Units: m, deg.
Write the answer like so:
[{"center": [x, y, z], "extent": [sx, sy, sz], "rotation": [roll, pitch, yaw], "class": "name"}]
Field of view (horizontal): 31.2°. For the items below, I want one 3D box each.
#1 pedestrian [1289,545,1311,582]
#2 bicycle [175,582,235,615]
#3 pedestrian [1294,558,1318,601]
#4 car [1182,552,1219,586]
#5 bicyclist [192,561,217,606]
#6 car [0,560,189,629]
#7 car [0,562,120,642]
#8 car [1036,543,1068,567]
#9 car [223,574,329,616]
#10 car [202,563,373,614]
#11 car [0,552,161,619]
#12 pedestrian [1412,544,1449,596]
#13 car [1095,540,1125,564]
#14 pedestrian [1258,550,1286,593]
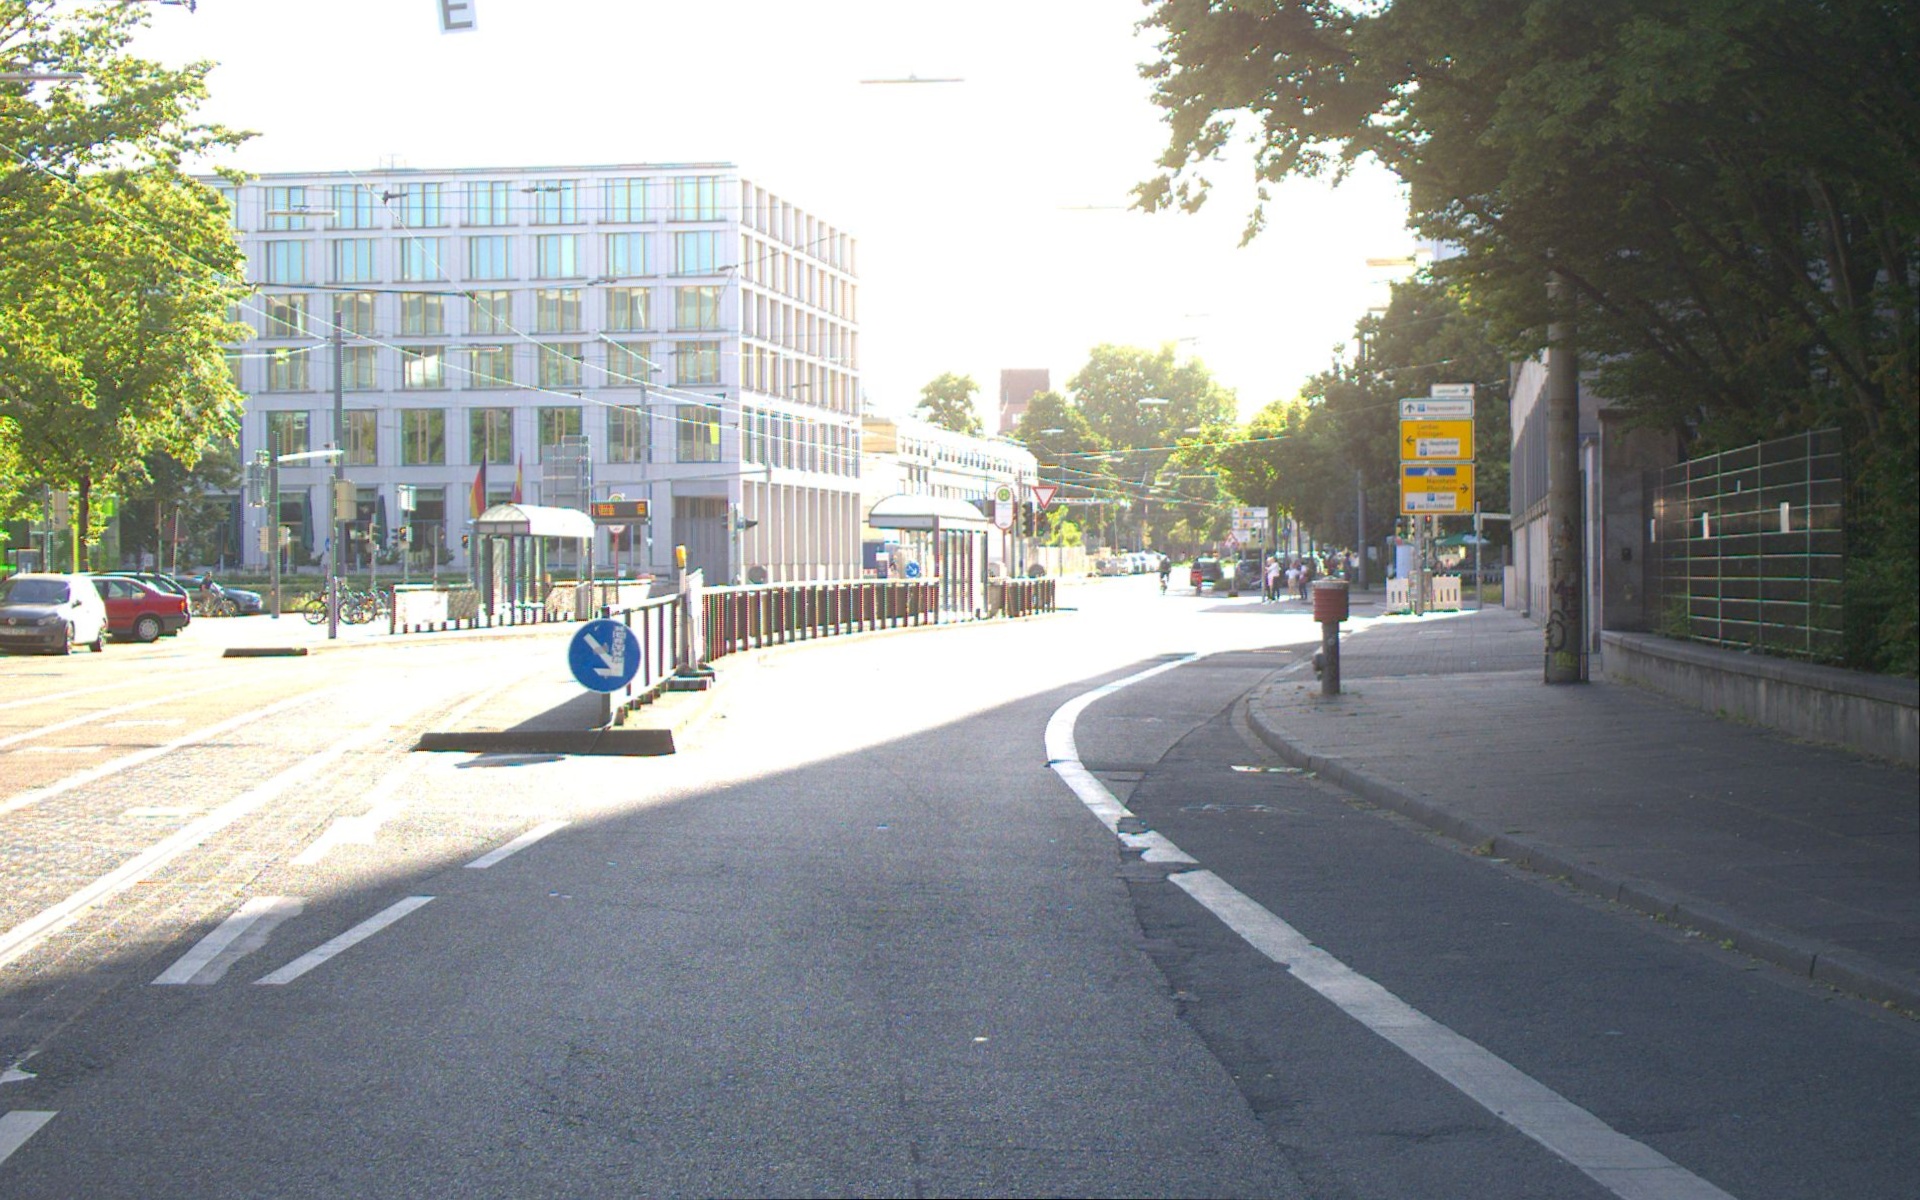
[{"center": [14.264, -1.518, 144.202], "extent": [0.762, 1.553, 0.588], "rotation": [-1, 0, -7], "class": "pedestrian"}, {"center": [-26.608, -0.053, 121.193], "extent": [1.924, 1.118, 0.789], "rotation": [0, 0, 14], "class": "bicycle"}, {"center": [14.420, -0.837, 143.348], "extent": [0.847, 1.778, 0.780], "rotation": [-1, 0, -7], "class": "pedestrian"}, {"center": [13.135, -1.684, 187.684], "extent": [1.685, 1.731, 3.507], "rotation": [1, 0, 8], "class": "car"}, {"center": [-26.616, -0.570, 121.133], "extent": [0.619, 1.577, 0.594], "rotation": [0, 0, 15], "class": "bicyclist"}, {"center": [-19.129, -0.114, 74.373], "extent": [4.499, 1.421, 1.873], "rotation": [1, 0, -23], "class": "car"}, {"center": [-17.118, 0.011, 64.435], "extent": [1.706, 1.405, 4.292], "rotation": [2, 1, 0], "class": "car"}, {"center": [6.570, -3.183, 244.209], "extent": [1.820, 1.706, 3.804], "rotation": [0, 1, 8], "class": "car"}, {"center": [-25.245, -0.202, 126.861], "extent": [3.531, 1.501, 1.522], "rotation": [0, 1, 7], "class": "car"}, {"center": [-19.162, -0.311, 97.968], "extent": [4.499, 1.346, 1.590], "rotation": [1, -1, -24], "class": "car"}, {"center": [-22.190, -0.351, 84.984], "extent": [4.499, 1.564, 1.590], "rotation": [1, -1, -24], "class": "car"}, {"center": [15.782, -0.997, 115.317], "extent": [1.039, 1.715, 1.035], "rotation": [-1, 0, -3], "class": "pedestrian"}, {"center": [11.171, -3.572, 255.464], "extent": [1.820, 1.706, 3.804], "rotation": [0, 1, 8], "class": "car"}, {"center": [12.921, -1.187, 142.400], "extent": [0.966, 1.778, 0.780], "rotation": [-1, 0, -7], "class": "pedestrian"}]
